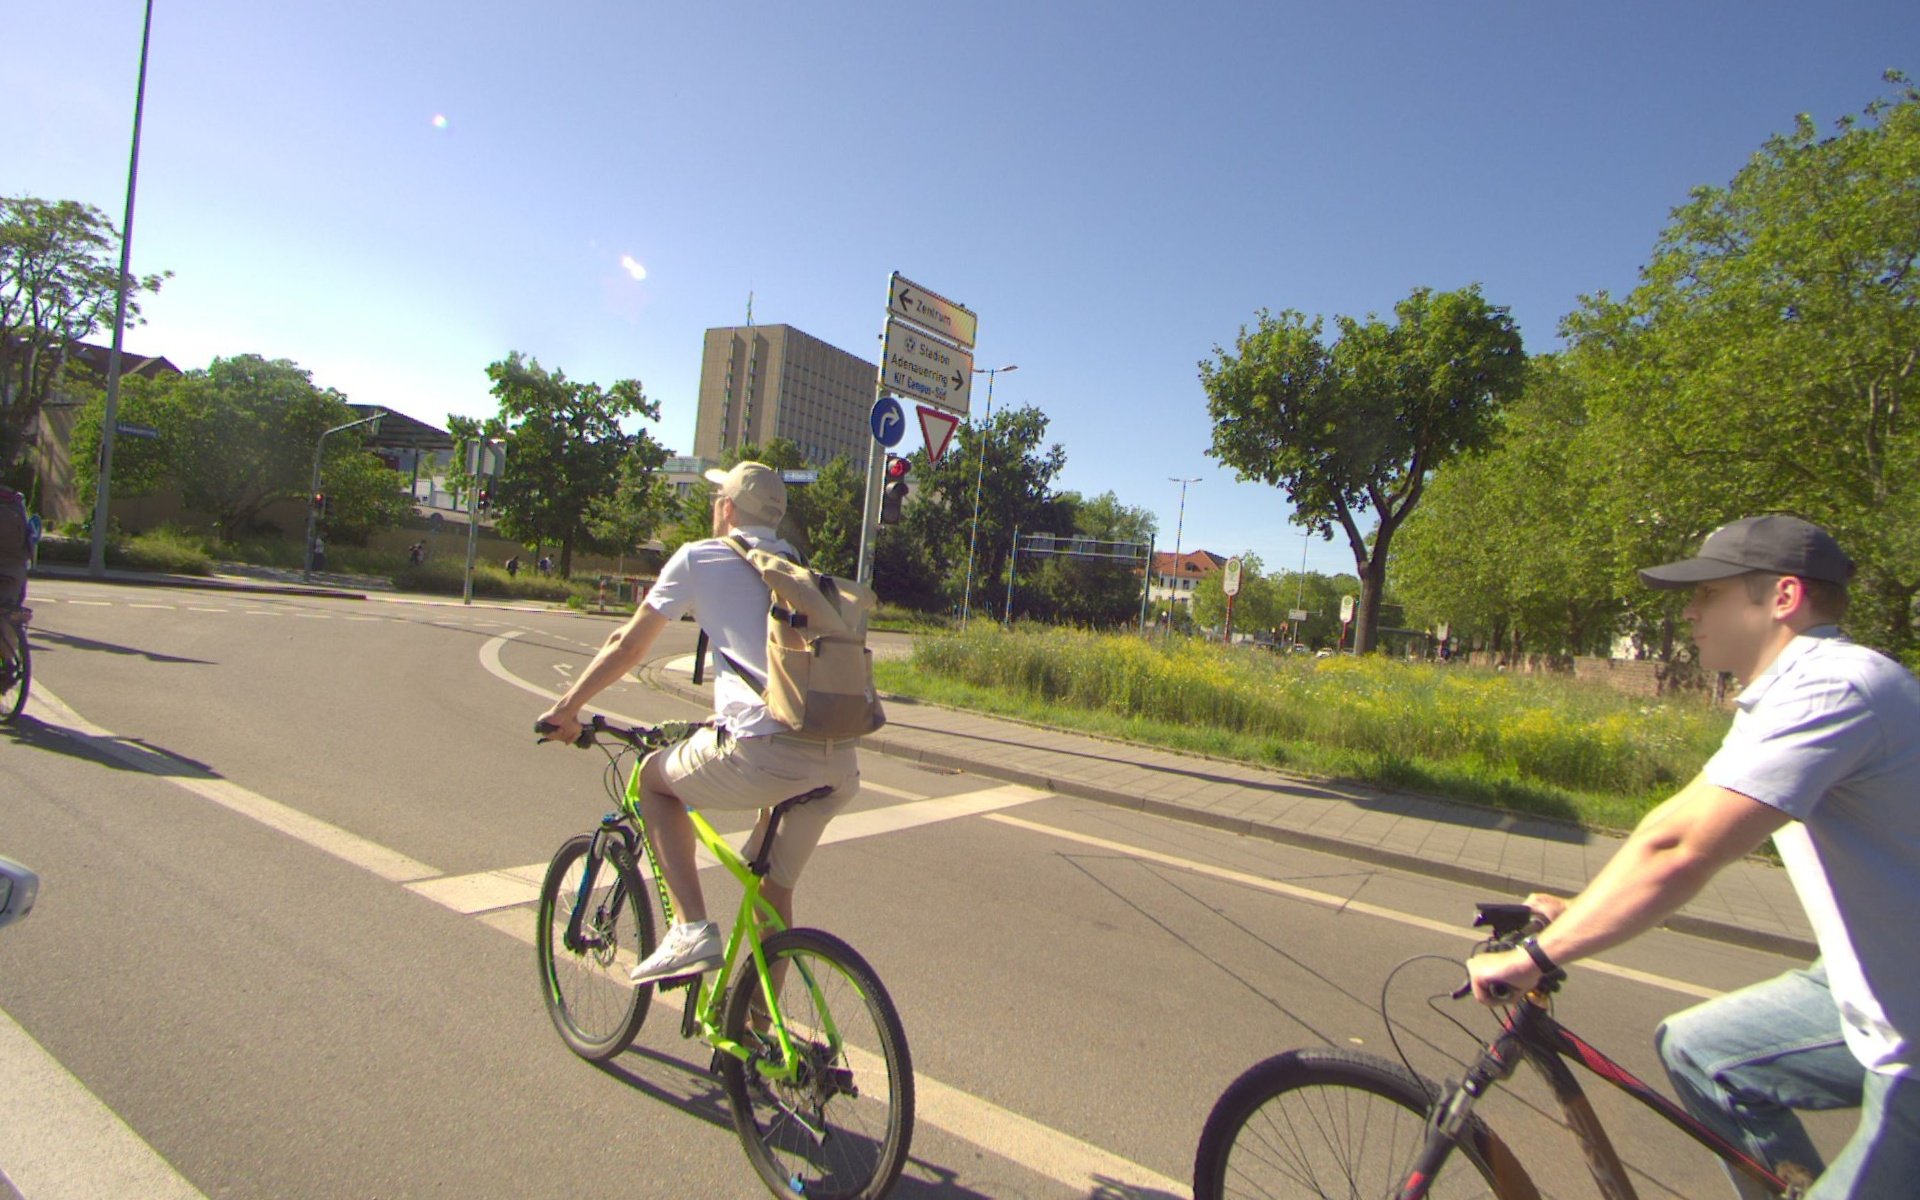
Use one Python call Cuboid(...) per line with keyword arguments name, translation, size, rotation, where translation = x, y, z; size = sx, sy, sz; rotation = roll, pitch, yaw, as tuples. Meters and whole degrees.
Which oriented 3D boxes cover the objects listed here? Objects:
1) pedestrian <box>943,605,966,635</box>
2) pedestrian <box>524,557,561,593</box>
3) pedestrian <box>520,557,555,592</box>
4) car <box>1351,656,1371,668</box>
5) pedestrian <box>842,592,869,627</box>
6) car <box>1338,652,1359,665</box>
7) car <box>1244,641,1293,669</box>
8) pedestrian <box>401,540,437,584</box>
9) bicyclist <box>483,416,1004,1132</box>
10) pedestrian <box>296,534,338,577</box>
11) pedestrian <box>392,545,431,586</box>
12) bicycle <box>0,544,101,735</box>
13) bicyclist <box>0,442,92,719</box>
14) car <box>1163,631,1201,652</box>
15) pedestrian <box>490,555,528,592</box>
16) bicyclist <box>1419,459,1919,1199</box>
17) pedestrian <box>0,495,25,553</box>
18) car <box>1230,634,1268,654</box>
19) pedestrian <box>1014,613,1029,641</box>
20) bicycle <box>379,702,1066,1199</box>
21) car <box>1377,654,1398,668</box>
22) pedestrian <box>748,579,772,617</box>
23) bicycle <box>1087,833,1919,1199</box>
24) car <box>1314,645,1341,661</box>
Cuboid(name="pedestrian", translation=(-0.405, 1.523, 76.595), size=(1.065, 2.106, 1.231), rotation=(7, 1, 35))
Cuboid(name="pedestrian", translation=(-19.893, -1.168, 47.954), size=(0.975, 1.540, 1.129), rotation=(7, 1, 35))
Cuboid(name="pedestrian", translation=(-20.335, -1.240, 48.453), size=(0.865, 1.540, 1.144), rotation=(7, 1, 35))
Cuboid(name="car", translation=(57.819, 8.951, 144.918), size=(1.966, 1.378, 4.001), rotation=(6, 0, 30))
Cuboid(name="pedestrian", translation=(-6.757, 0.591, 65.043), size=(0.966, 2.106, 1.186), rotation=(7, 1, 35))
Cuboid(name="car", translation=(59.343, 8.937, 153.633), size=(1.894, 1.625, 4.069), rotation=(7, 0, 37))
Cuboid(name="car", translation=(19.960, 3.581, 64.977), size=(1.715, 1.535, 3.987), rotation=(7, 0, 36))
Cuboid(name="pedestrian", translation=(-23.266, -1.627, 43.247), size=(0.912, 1.754, 0.962), rotation=(7, 1, 39))
Cuboid(name="bicyclist", translation=(-0.596, 0.367, 2.804), size=(1.063, 1.601, 0.675), rotation=(7, -1, 31))
Cuboid(name="pedestrian", translation=(-25.467, -1.769, 39.836), size=(0.917, 1.540, 1.083), rotation=(7, 1, 41))
Cuboid(name="pedestrian", translation=(-22.894, -1.449, 41.999), size=(0.865, 1.540, 1.074), rotation=(7, 1, 36))
Cuboid(name="bicycle", translation=(-6.738, 0.206, 6.931), size=(1.795, 1.152, 0.616), rotation=(7, 0, 30))
Cuboid(name="bicyclist", translation=(-6.649, -0.157, 6.864), size=(0.924, 1.806, 0.678), rotation=(6, -1, 30))
Cuboid(name="car", translation=(19.963, 3.750, 90.417), size=(1.807, 1.590, 3.988), rotation=(7, 0, 34))
Cuboid(name="pedestrian", translation=(-20.530, -1.208, 45.824), size=(0.927, 1.540, 1.145), rotation=(7, 1, 38))
Cuboid(name="bicyclist", translation=(1.296, 0.691, 1.670), size=(0.851, 1.695, 0.741), rotation=(7, 1, 30))
Cuboid(name="pedestrian", translation=(-32.302, -2.601, 33.667), size=(0.953, 1.879, 1.294), rotation=(7, 1, 43))
Cuboid(name="car", translation=(29.546, 4.526, 102.684), size=(1.909, 1.613, 4.860), rotation=(7, 0, 38))
Cuboid(name="pedestrian", translation=(5.052, 2.222, 82.336), size=(0.633, 2.194, 0.912), rotation=(7, 1, 35))
Cuboid(name="bicycle", translation=(-0.726, 0.953, 2.832), size=(1.813, 1.063, 0.672), rotation=(6, -1, 31))
Cuboid(name="car", translation=(70.469, 10.057, 165.791), size=(1.968, 2.062, 4.834), rotation=(7, 0, 34))
Cuboid(name="pedestrian", translation=(-11.848, -0.124, 59.722), size=(0.800, 2.106, 0.896), rotation=(7, 1, 35))
Cuboid(name="bicycle", translation=(1.222, 1.171, 1.687), size=(1.871, 1.064, 0.748), rotation=(6, 1, 30))
Cuboid(name="car", translation=(45.801, 6.621, 125.314), size=(1.968, 1.625, 4.127), rotation=(7, 0, 35))
